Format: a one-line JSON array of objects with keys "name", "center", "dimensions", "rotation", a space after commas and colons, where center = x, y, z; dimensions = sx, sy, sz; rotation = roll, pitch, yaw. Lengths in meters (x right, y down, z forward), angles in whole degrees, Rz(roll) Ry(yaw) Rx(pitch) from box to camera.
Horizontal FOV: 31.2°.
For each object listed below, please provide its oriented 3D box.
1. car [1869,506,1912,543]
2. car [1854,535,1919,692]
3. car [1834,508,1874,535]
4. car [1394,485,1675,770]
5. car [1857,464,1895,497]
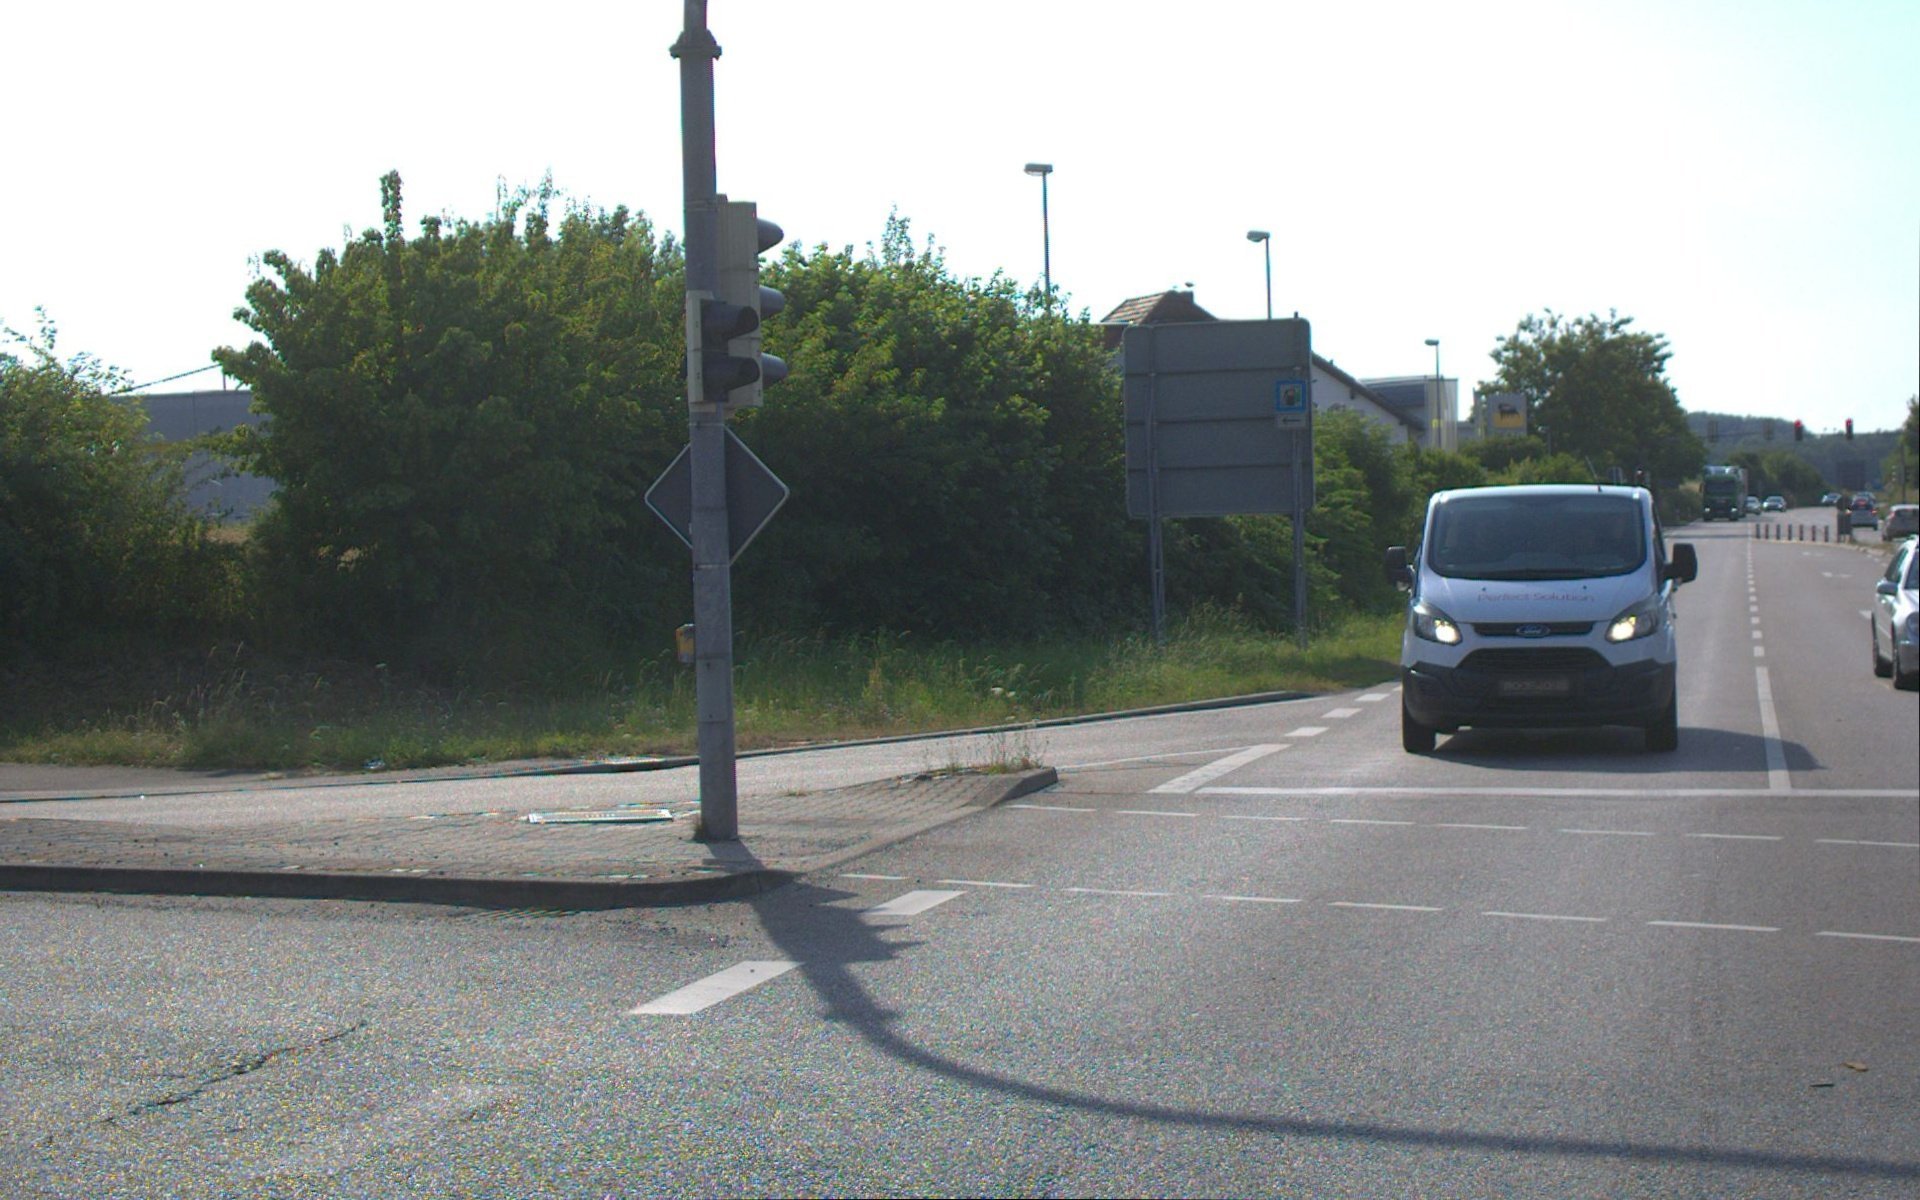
[{"name": "car", "center": [37.493, -3.042, 138.572], "dimensions": [1.551, 1.444, 3.048], "rotation": [0, 0, 13]}, {"name": "car", "center": [10.244, 0.124, 35.320], "dimensions": [1.858, 1.508, 4.950], "rotation": [0, 0, 12]}, {"name": "car", "center": [47.029, -4.145, 180.875], "dimensions": [1.741, 1.347, 3.202], "rotation": [0, 0, 9]}, {"name": "car", "center": [4.321, 0.104, 26.210], "dimensions": [1.901, 1.941, 4.817], "rotation": [1, 2, 8]}, {"name": "car", "center": [60.677, -7.906, 227.694], "dimensions": [1.994, 2.007, 3.999], "rotation": [0, 0, 9]}]
